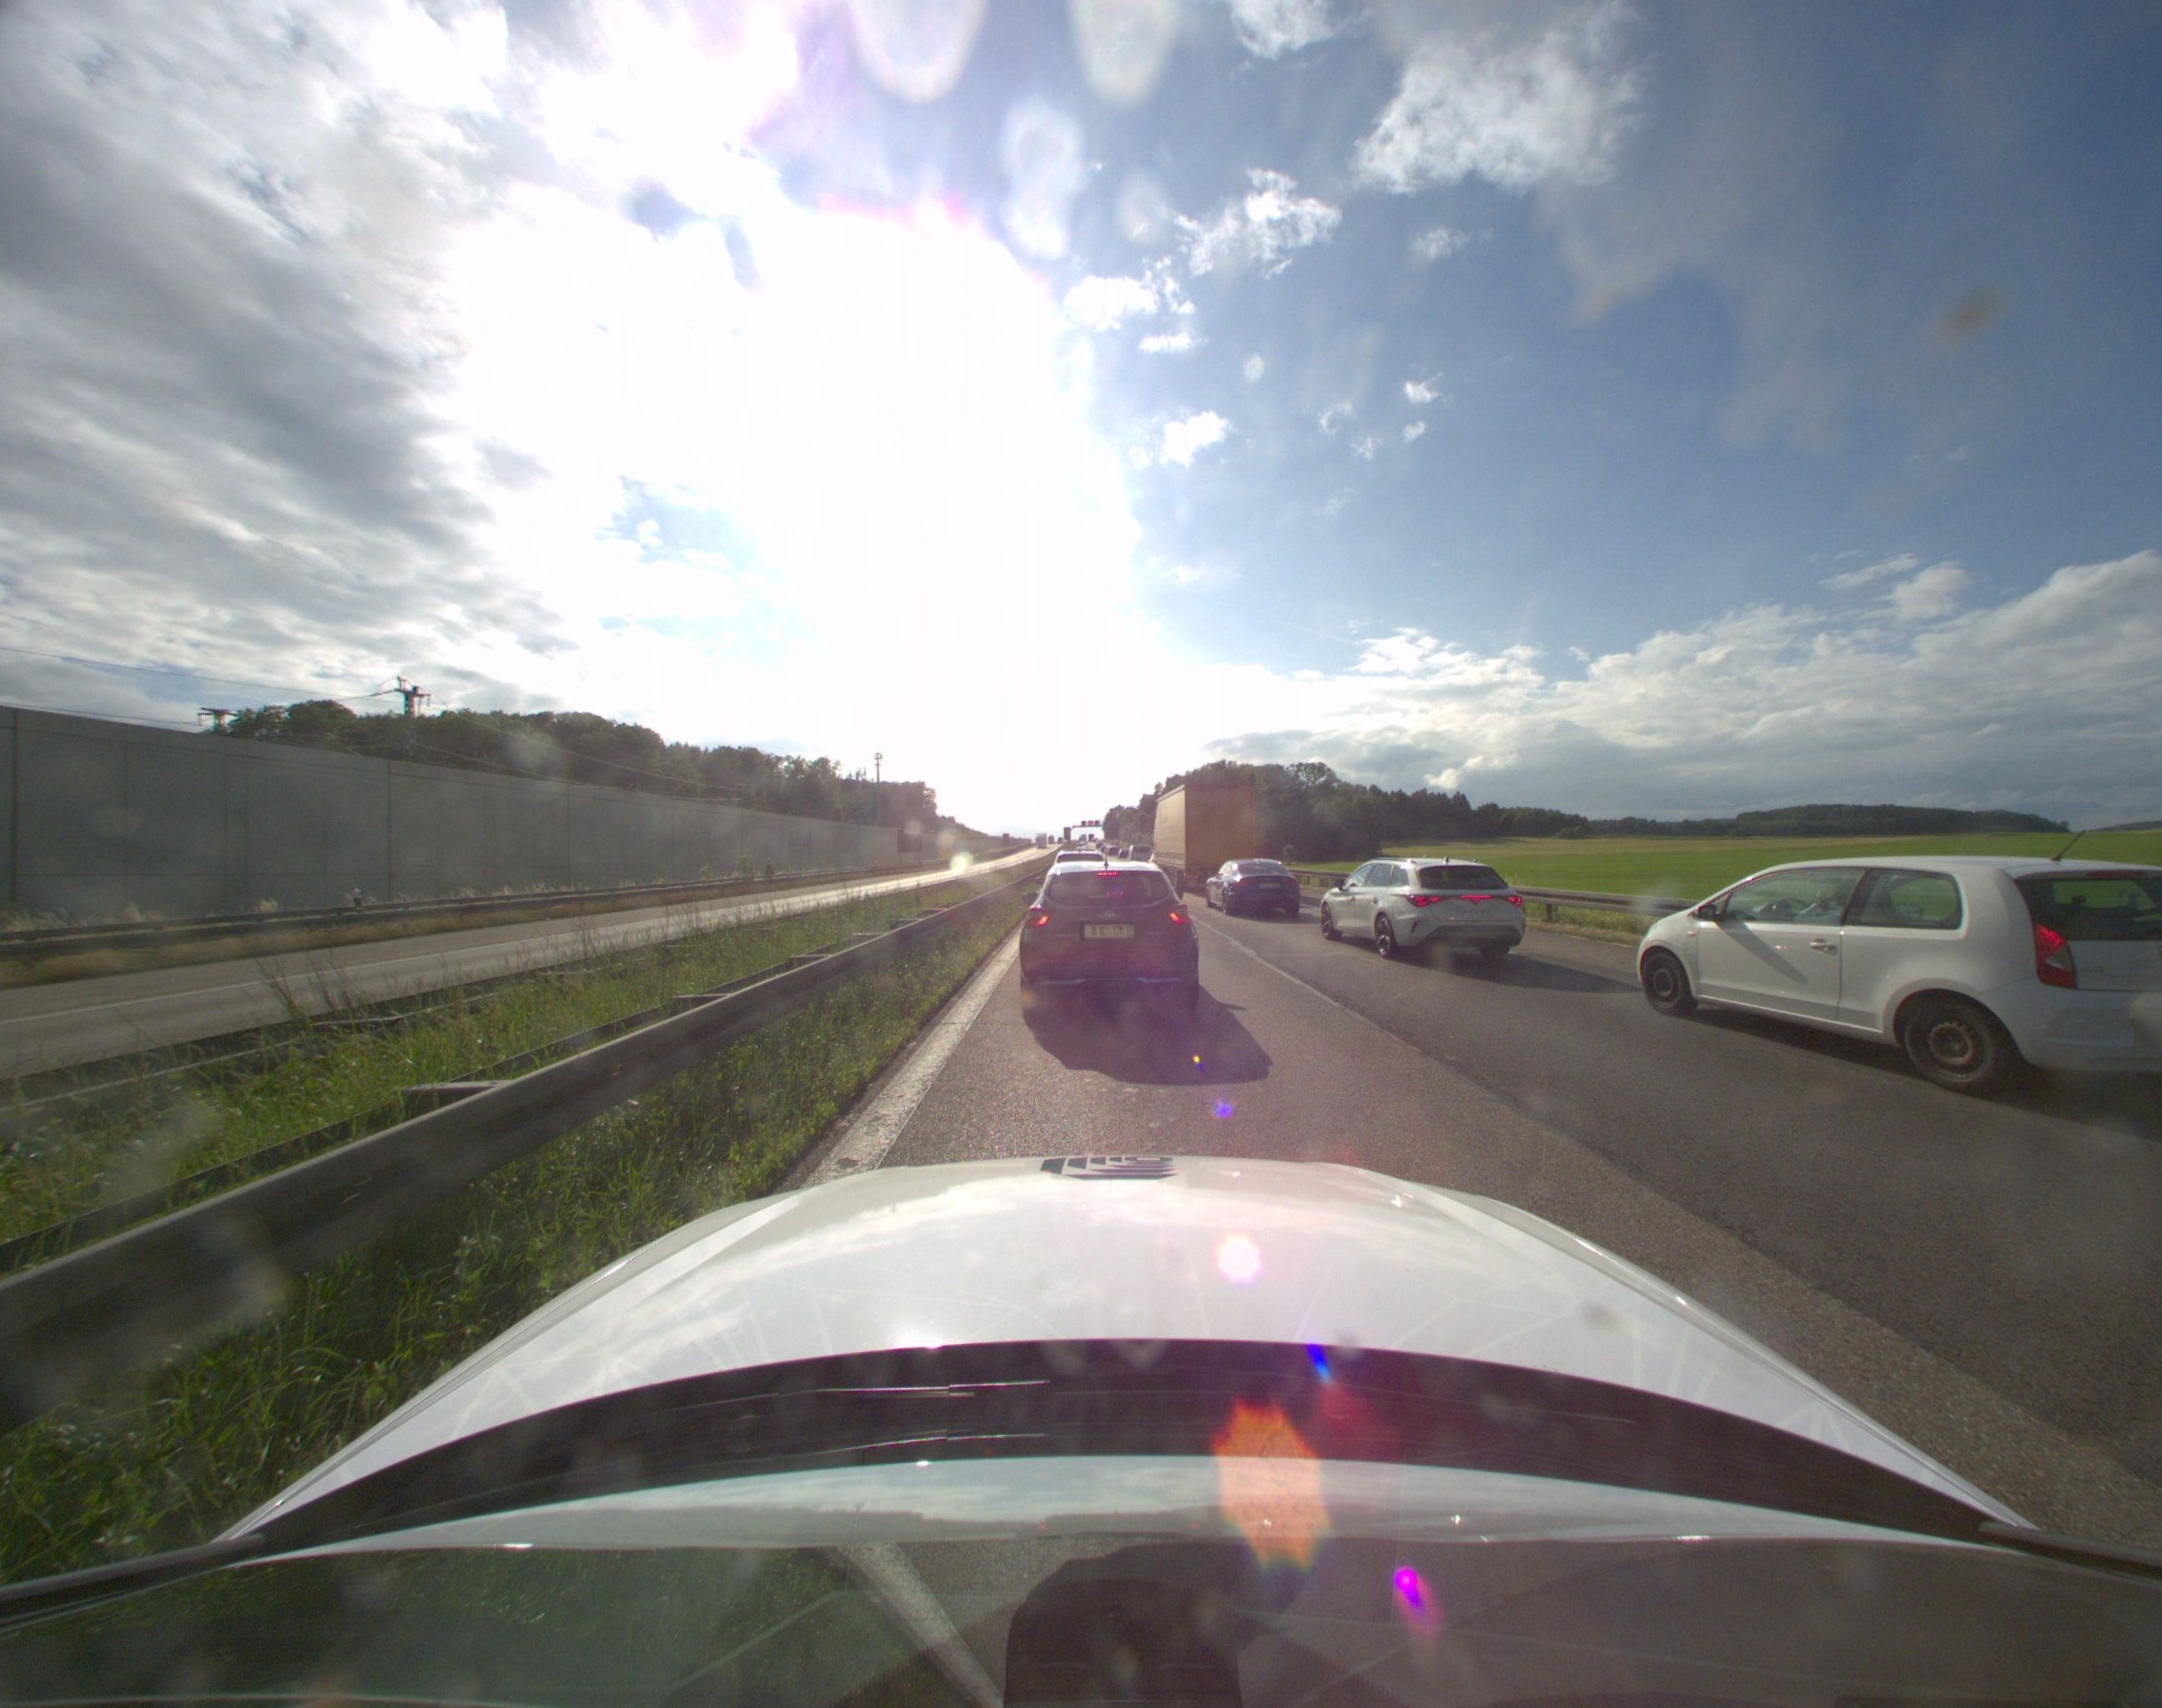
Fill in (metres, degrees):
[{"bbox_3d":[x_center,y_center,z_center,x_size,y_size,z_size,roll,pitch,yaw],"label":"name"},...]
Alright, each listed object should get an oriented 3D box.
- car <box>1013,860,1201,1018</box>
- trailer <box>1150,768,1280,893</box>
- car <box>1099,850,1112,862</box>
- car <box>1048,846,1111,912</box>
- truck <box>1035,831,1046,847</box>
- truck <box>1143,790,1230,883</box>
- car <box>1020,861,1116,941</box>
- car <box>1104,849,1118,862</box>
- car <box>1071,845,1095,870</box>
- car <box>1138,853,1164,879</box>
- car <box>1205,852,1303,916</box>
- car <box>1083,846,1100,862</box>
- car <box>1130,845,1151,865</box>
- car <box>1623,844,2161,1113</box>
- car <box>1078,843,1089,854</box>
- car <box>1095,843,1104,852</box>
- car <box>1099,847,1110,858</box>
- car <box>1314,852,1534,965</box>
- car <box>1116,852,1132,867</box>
[{"bbox_3d":[0.290,0.793,9.135,1.703,1.426,3.379,-1,-1,2],"label":"car"},{"bbox_3d":[5.371,-0.791,35.649,3.538,4.457,12.718,0,-1,0],"label":"trailer"},{"bbox_3d":[4.205,0.280,139.684,1.987,2.014,3.998,0,-1,-1],"label":"car"},{"bbox_3d":[0.002,0.681,23.277,1.668,1.726,3.597,-1,-1,1],"label":"car"},{"bbox_3d":[-10.862,-3.894,218.048,2.629,4.098,7.000,0,-1,0],"label":"truck"},{"bbox_3d":[5.304,-0.809,42.176,3.571,4.380,6.686,0,-1,-1],"label":"truck"},{"bbox_3d":[-0.189,0.833,15.965,1.668,1.367,3.597,-1,-1,1],"label":"car"},{"bbox_3d":[4.766,0.316,130.304,1.987,2.014,3.998,0,-1,-1],"label":"car"},{"bbox_3d":[0.171,0.306,69.548,1.987,2.014,3.998,0,-1,-1],"label":"car"},{"bbox_3d":[4.884,0.830,57.083,1.661,1.755,3.328,0,-1,2],"label":"car"},{"bbox_3d":[4.389,0.727,21.271,1.741,1.475,4.147,-1,-1,1],"label":"car"},{"bbox_3d":[1.301,-0.001,101.404,1.987,2.014,3.998,0,-1,-1],"label":"car"},{"bbox_3d":[5.205,0.106,71.661,1.661,1.755,3.328,0,-1,2],"label":"car"},{"bbox_3d":[6.091,0.685,6.276,1.544,1.495,3.376,0,0,-1],"label":"car"},{"bbox_3d":[0.419,-0.950,144.280,1.987,2.014,3.998,0,-1,-1],"label":"car"},{"bbox_3d":[4.181,-1.378,183.934,1.987,2.014,3.998,0,-1,-1],"label":"car"},{"bbox_3d":[4.384,-0.317,153.729,1.987,2.014,3.998,0,-1,-1],"label":"car"},{"bbox_3d":[5.066,0.728,12.699,1.616,1.445,4.144,0,-1,-1],"label":"car"},{"bbox_3d":[5.897,0.758,111.715,1.987,2.014,3.998,0,-1,-1],"label":"car"}]
